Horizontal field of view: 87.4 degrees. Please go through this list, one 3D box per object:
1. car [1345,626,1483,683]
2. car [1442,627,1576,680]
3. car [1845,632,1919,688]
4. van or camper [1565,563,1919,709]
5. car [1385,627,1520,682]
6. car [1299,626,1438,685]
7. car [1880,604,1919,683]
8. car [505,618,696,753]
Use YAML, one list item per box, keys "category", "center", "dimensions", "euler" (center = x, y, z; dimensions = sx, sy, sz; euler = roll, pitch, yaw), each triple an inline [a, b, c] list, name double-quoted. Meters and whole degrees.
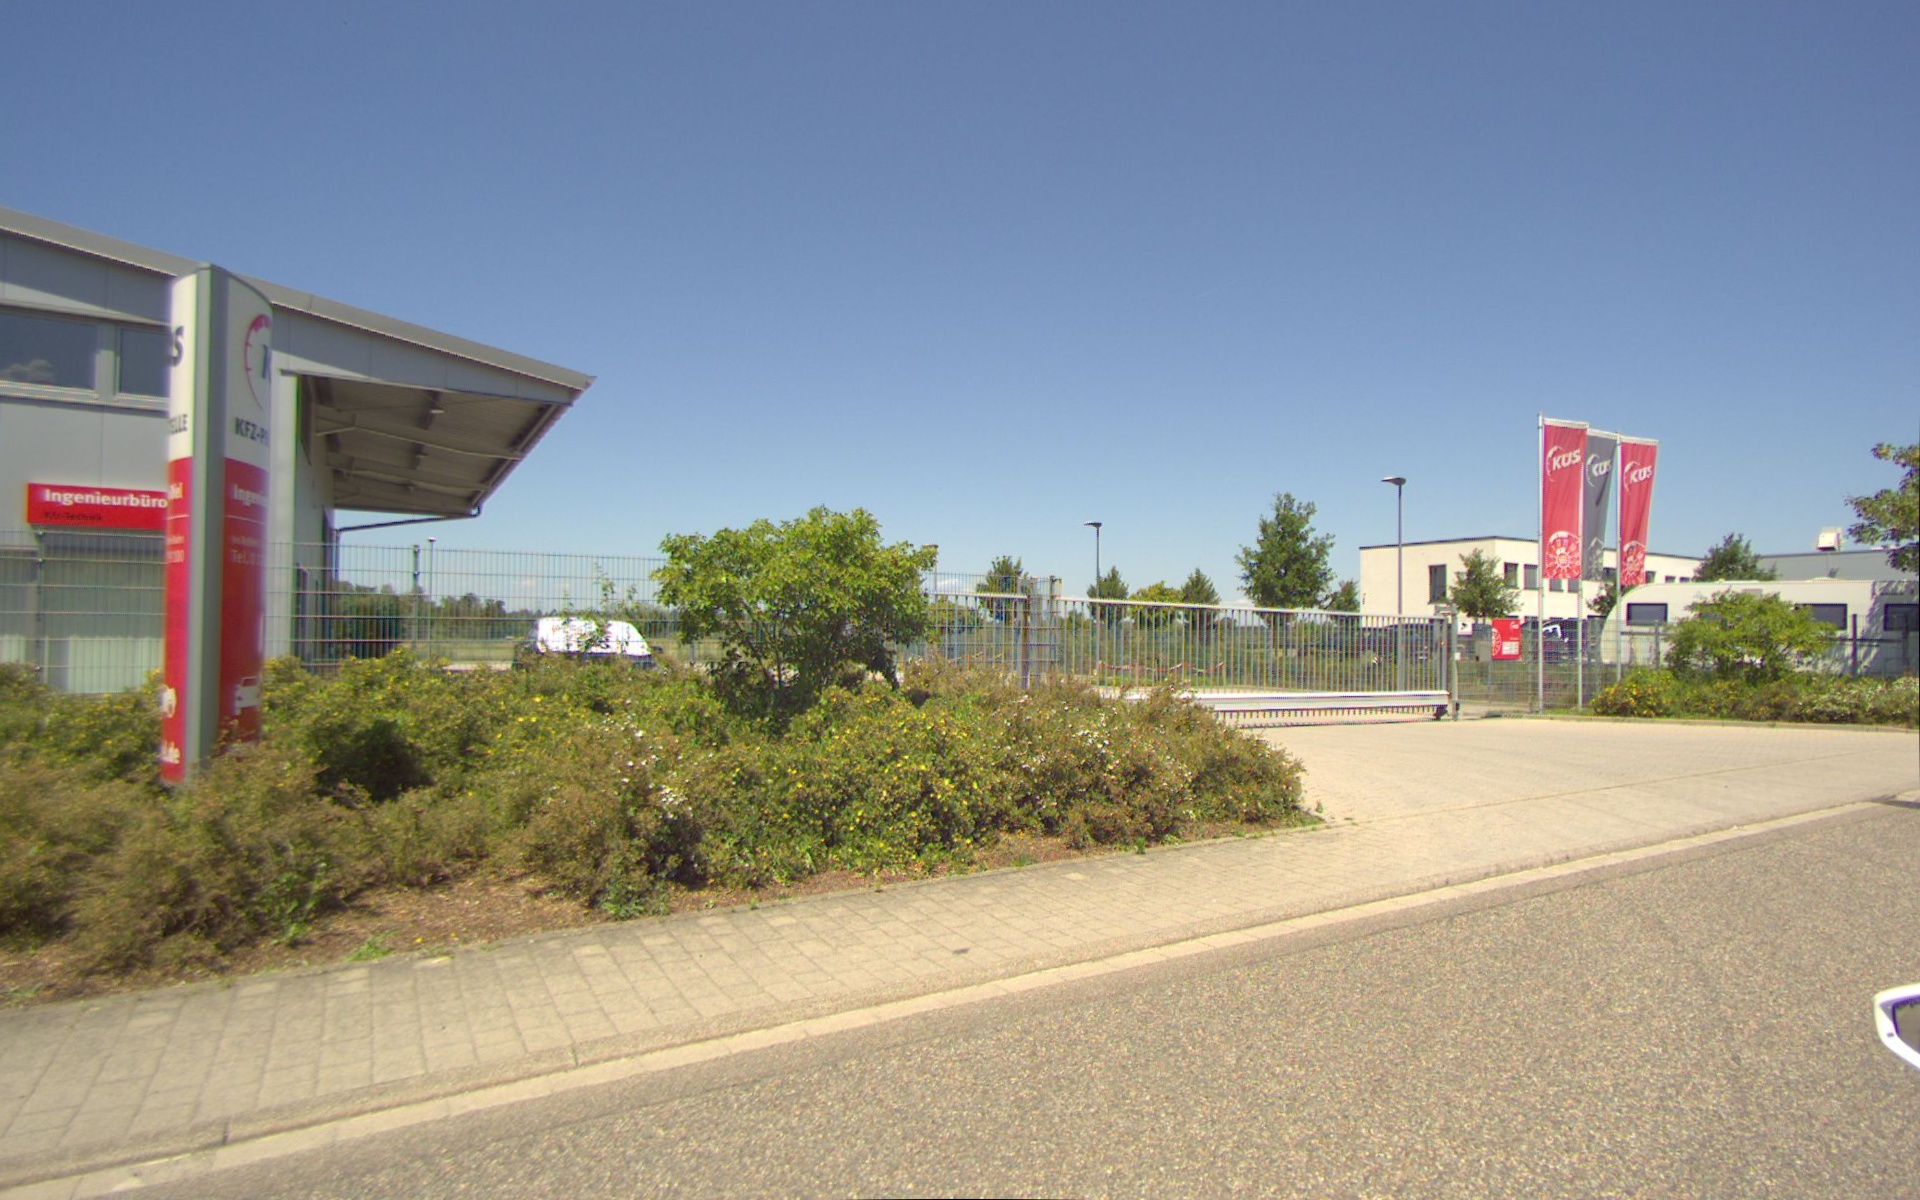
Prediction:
- category: "car"
  center: [15.625, 1.858, 34.757]
  dimensions: [1.895, 1.839, 3.967]
  euler: [1, -2, -31]
- category: "car"
  center: [20.325, 1.964, 37.303]
  dimensions: [1.895, 1.839, 3.967]
  euler: [1, -2, -31]
- category: "car"
  center: [28.633, 1.770, 29.649]
  dimensions: [1.483, 1.632, 3.471]
  euler: [1, -2, -31]
- category: "van or camper"
  center: [19.527, 0.892, 24.868]
  dimensions: [2.759, 3.077, 7.347]
  euler: [1, -2, -31]
- category: "car"
  center: [17.573, 1.909, 35.981]
  dimensions: [1.895, 1.839, 3.967]
  euler: [1, -2, -31]
- category: "car"
  center: [13.541, 1.811, 33.529]
  dimensions: [1.895, 1.839, 3.967]
  euler: [1, -2, -31]
- category: "car"
  center: [33.510, 1.429, 32.864]
  dimensions: [1.980, 2.620, 4.686]
  euler: [1, -2, -34]
- category: "car"
  center: [-4.942, 1.052, 13.553]
  dimensions: [1.543, 1.572, 3.477]
  euler: [2, -2, -35]
